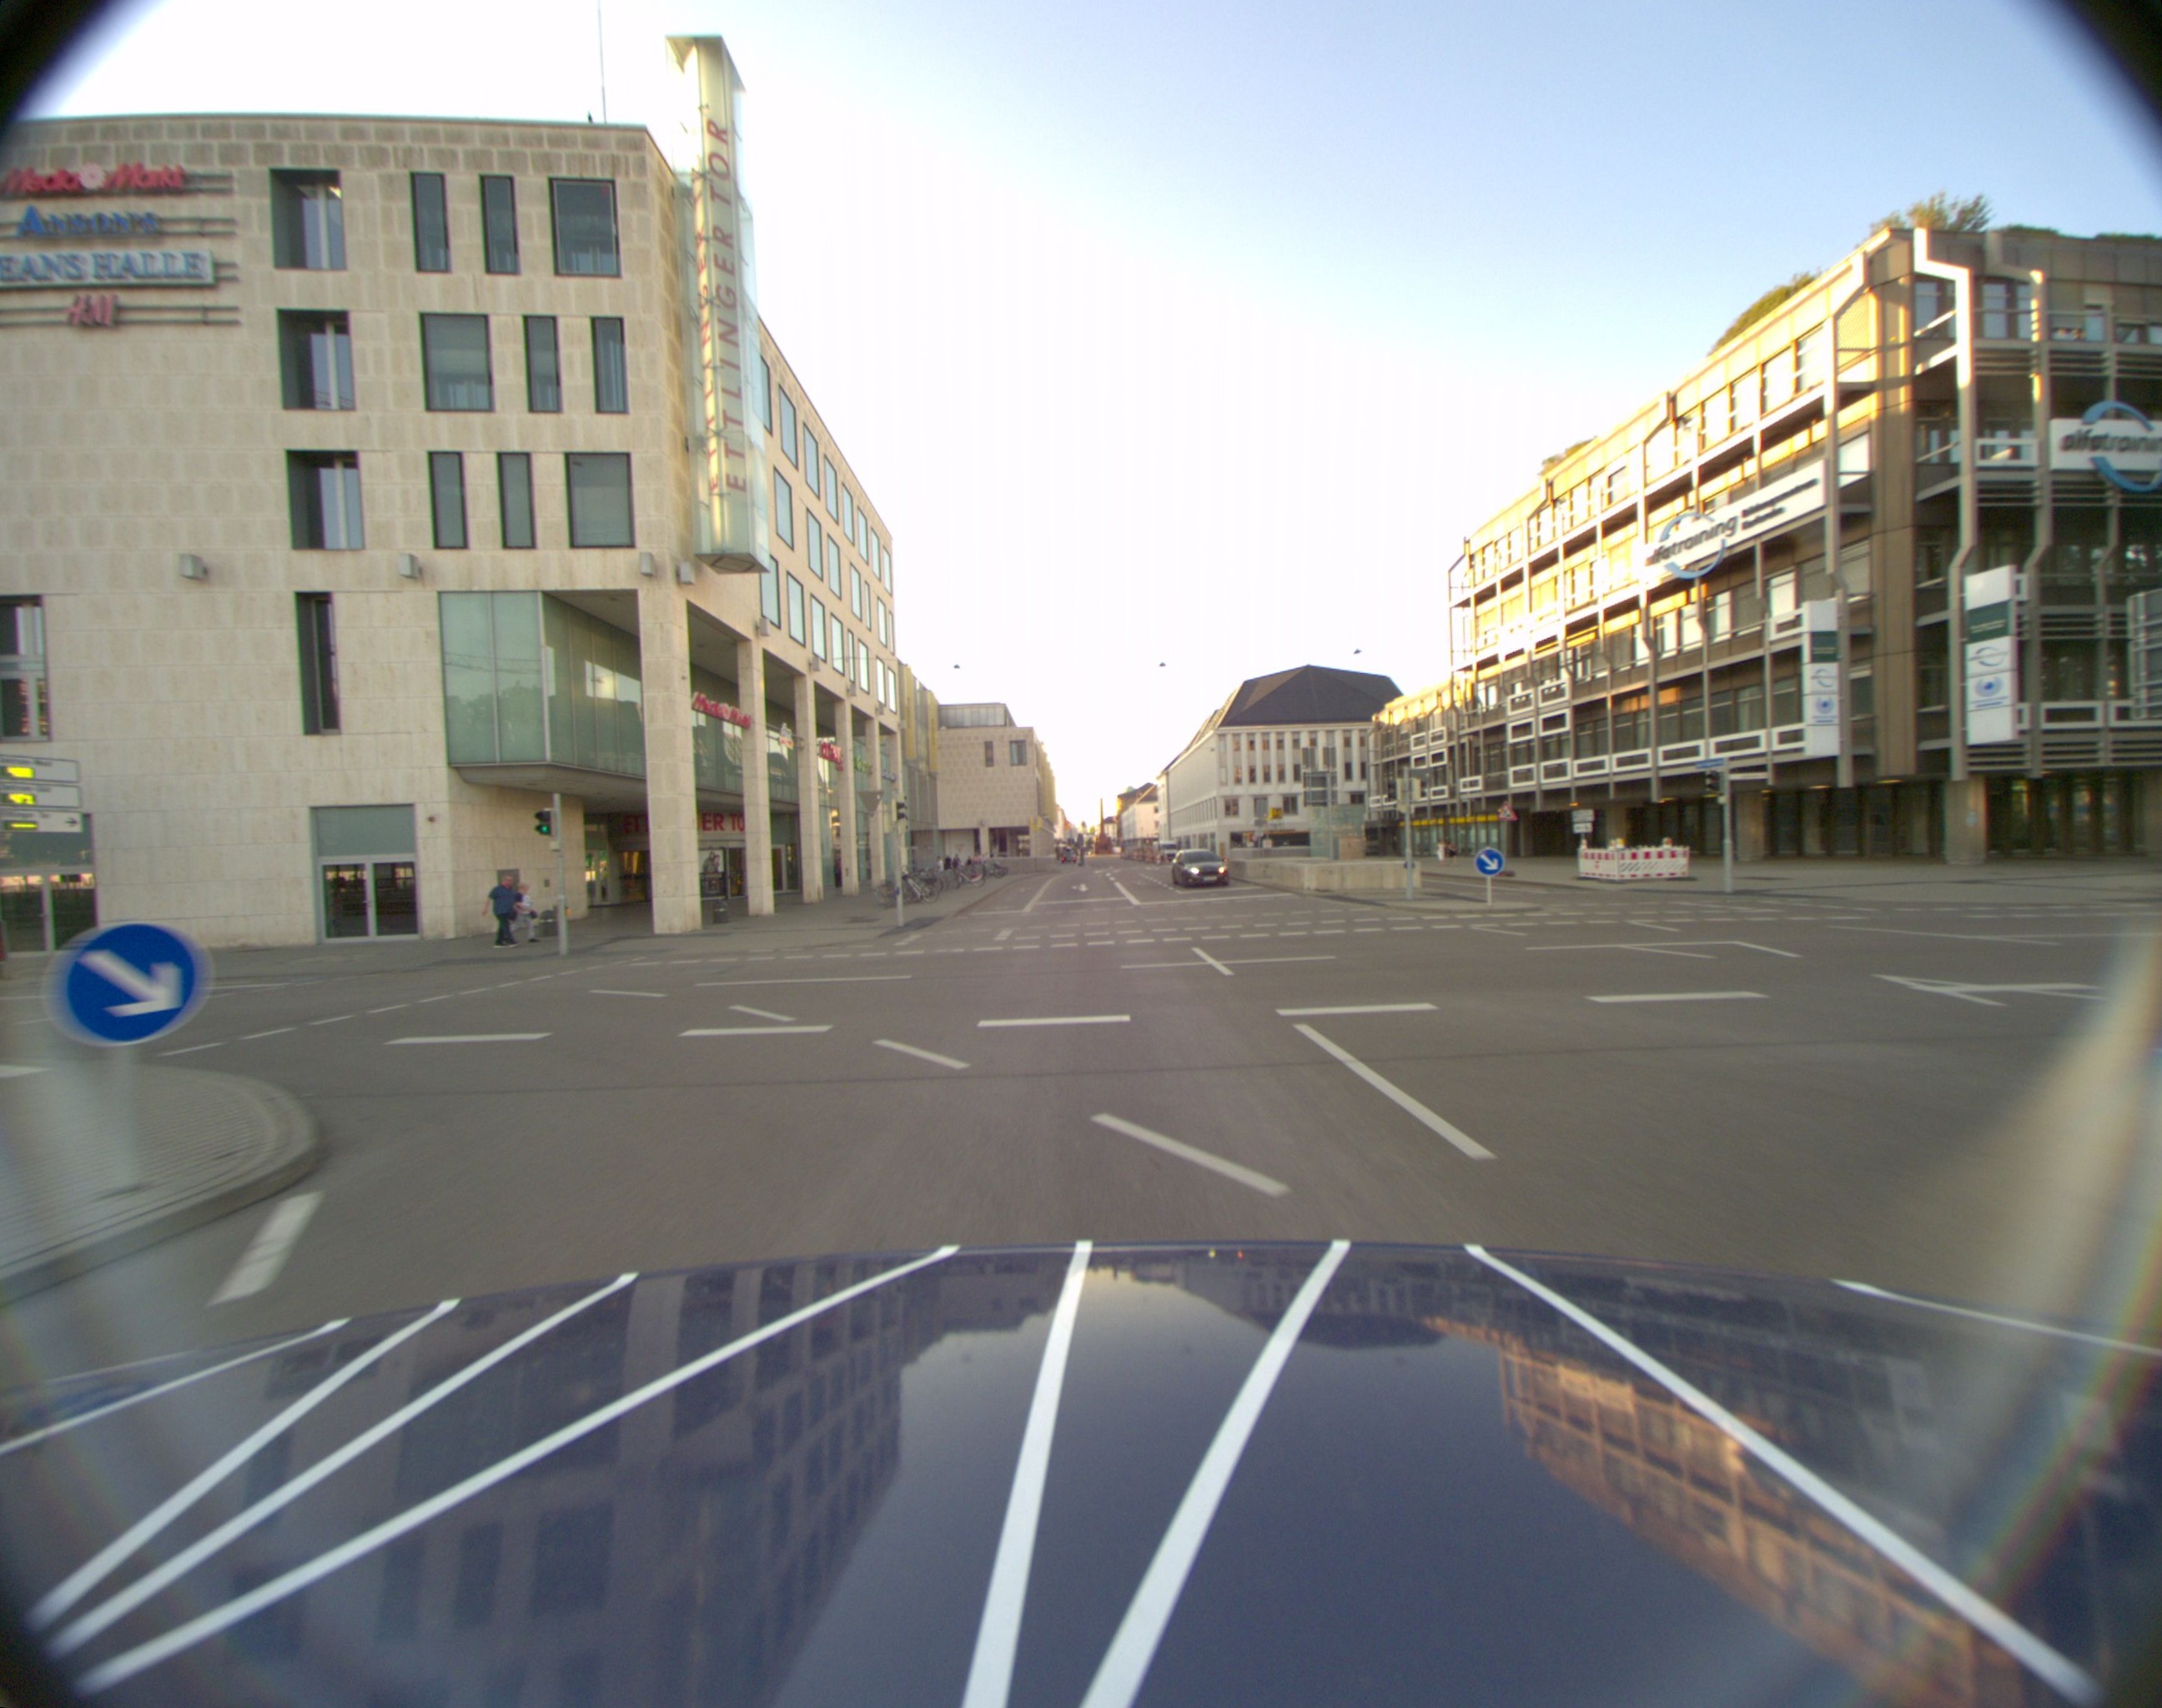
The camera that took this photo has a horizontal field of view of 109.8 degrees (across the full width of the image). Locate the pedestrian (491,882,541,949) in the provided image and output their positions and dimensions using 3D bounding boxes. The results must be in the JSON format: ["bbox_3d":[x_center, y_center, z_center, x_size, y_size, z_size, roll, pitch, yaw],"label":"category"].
[{"bbox_3d":[-13.812,1.482,18.583,0.668,1.537,0.725,-2,1,-12],"label":"pedestrian"}]

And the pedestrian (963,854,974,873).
[{"bbox_3d":[-10.091,0.852,68.232,0.793,1.734,0.656,-2,1,2],"label":"pedestrian"}]

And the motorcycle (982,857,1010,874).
[{"bbox_3d":[-6.284,0.852,56.094,2.007,1.217,0.480,-2,1,-4],"label":"motorcycle"}]

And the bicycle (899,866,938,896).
[{"bbox_3d":[-7.335,1.226,34.350,1.519,1.220,0.618,-4,1,-1],"label":"bicycle"}]

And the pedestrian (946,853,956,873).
[{"bbox_3d":[-11.161,0.749,65.426,0.740,1.638,0.820,-2,1,-7],"label":"pedestrian"}]

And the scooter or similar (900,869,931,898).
[{"bbox_3d":[-7.077,1.249,32.498,1.197,1.192,0.492,-2,1,-5],"label":"scooter or similar"}]

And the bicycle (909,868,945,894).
[{"bbox_3d":[-7.299,1.254,35.969,1.519,1.099,0.552,-4,1,-3],"label":"bicycle"}]

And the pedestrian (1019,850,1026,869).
[{"bbox_3d":[-5.267,0.486,68.596,0.455,1.734,0.492,-2,1,2],"label":"pedestrian"}]

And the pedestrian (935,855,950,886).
[{"bbox_3d":[-7.593,0.906,41.704,0.708,1.682,0.629,-2,1,-8],"label":"pedestrian"}]

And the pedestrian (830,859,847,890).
[{"bbox_3d":[-13.393,1.140,41.904,0.629,1.642,0.708,-2,1,1],"label":"pedestrian"}]

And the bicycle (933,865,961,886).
[{"bbox_3d":[-7.610,1.196,43.061,1.447,1.059,0.580,-5,1,-11],"label":"bicycle"}]

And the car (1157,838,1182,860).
[{"bbox_3d":[10.617,-0.653,91.557,2.142,2.541,6.049,-2,1,0],"label":"car"}]

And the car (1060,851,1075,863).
[{"bbox_3d":[-1.767,0.370,99.789,1.798,1.365,3.670,-2,1,1],"label":"car"}]

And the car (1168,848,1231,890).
[{"bbox_3d":[4.815,0.565,31.389,1.762,1.454,4.378,-4,1,-1],"label":"car"}]

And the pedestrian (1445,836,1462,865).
[{"bbox_3d":[21.450,-0.196,43.794,0.616,1.630,0.702,-2,1,0],"label":"pedestrian"}]

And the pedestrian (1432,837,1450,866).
[{"bbox_3d":[20.765,-0.156,43.829,0.670,1.630,0.584,-2,1,-1],"label":"pedestrian"}]

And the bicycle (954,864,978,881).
[{"bbox_3d":[-7.031,1.148,46.503,1.345,0.927,0.518,-4,1,-2],"label":"bicycle"}]

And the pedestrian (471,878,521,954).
[{"bbox_3d":[-13.705,1.436,17.812,0.668,1.715,0.589,-2,1,-12],"label":"pedestrian"}]

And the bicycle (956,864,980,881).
[{"bbox_3d":[-6.986,1.144,47.149,1.345,0.927,0.518,-4,1,-2],"label":"bicycle"}]

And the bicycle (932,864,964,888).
[{"bbox_3d":[-7.053,1.175,40.391,1.518,1.118,0.580,-4,1,3],"label":"bicycle"}]

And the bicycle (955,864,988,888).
[{"bbox_3d":[-5.623,1.128,38.965,1.518,1.057,0.466,-4,1,0],"label":"bicycle"}]

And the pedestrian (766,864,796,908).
[{"bbox_3d":[-11.507,1.210,29.199,0.793,1.629,0.708,-2,1,0],"label":"pedestrian"}]

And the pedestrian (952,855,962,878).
[{"bbox_3d":[-9.807,0.951,60.178,0.619,1.770,0.812,-2,1,2],"label":"pedestrian"}]

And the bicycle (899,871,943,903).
[{"bbox_3d":[-6.128,1.259,29.113,1.483,1.176,0.548,-2,1,4],"label":"bicycle"}]

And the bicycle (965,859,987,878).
[{"bbox_3d":[-7.076,0.985,51.159,1.345,1.157,0.518,-4,1,-2],"label":"bicycle"}]

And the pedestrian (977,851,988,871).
[{"bbox_3d":[-8.849,0.591,68.180,0.793,1.734,0.941,-2,1,2],"label":"pedestrian"}]

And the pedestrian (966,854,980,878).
[{"bbox_3d":[-7.545,0.859,53.039,0.809,1.633,0.646,-2,1,-19],"label":"pedestrian"}]

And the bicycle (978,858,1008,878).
[{"bbox_3d":[-5.847,0.924,50.339,1.838,1.140,0.466,-4,1,0],"label":"bicycle"}]

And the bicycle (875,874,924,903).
[{"bbox_3d":[-7.103,1.344,29.777,1.774,1.072,0.482,-2,1,-8],"label":"bicycle"}]

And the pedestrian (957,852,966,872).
[{"bbox_3d":[-10.312,0.713,65.479,0.698,1.686,0.820,-2,1,-5],"label":"pedestrian"}]

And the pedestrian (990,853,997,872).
[{"bbox_3d":[-8.092,0.743,70.293,0.516,1.734,0.492,-2,1,2],"label":"pedestrian"}]
